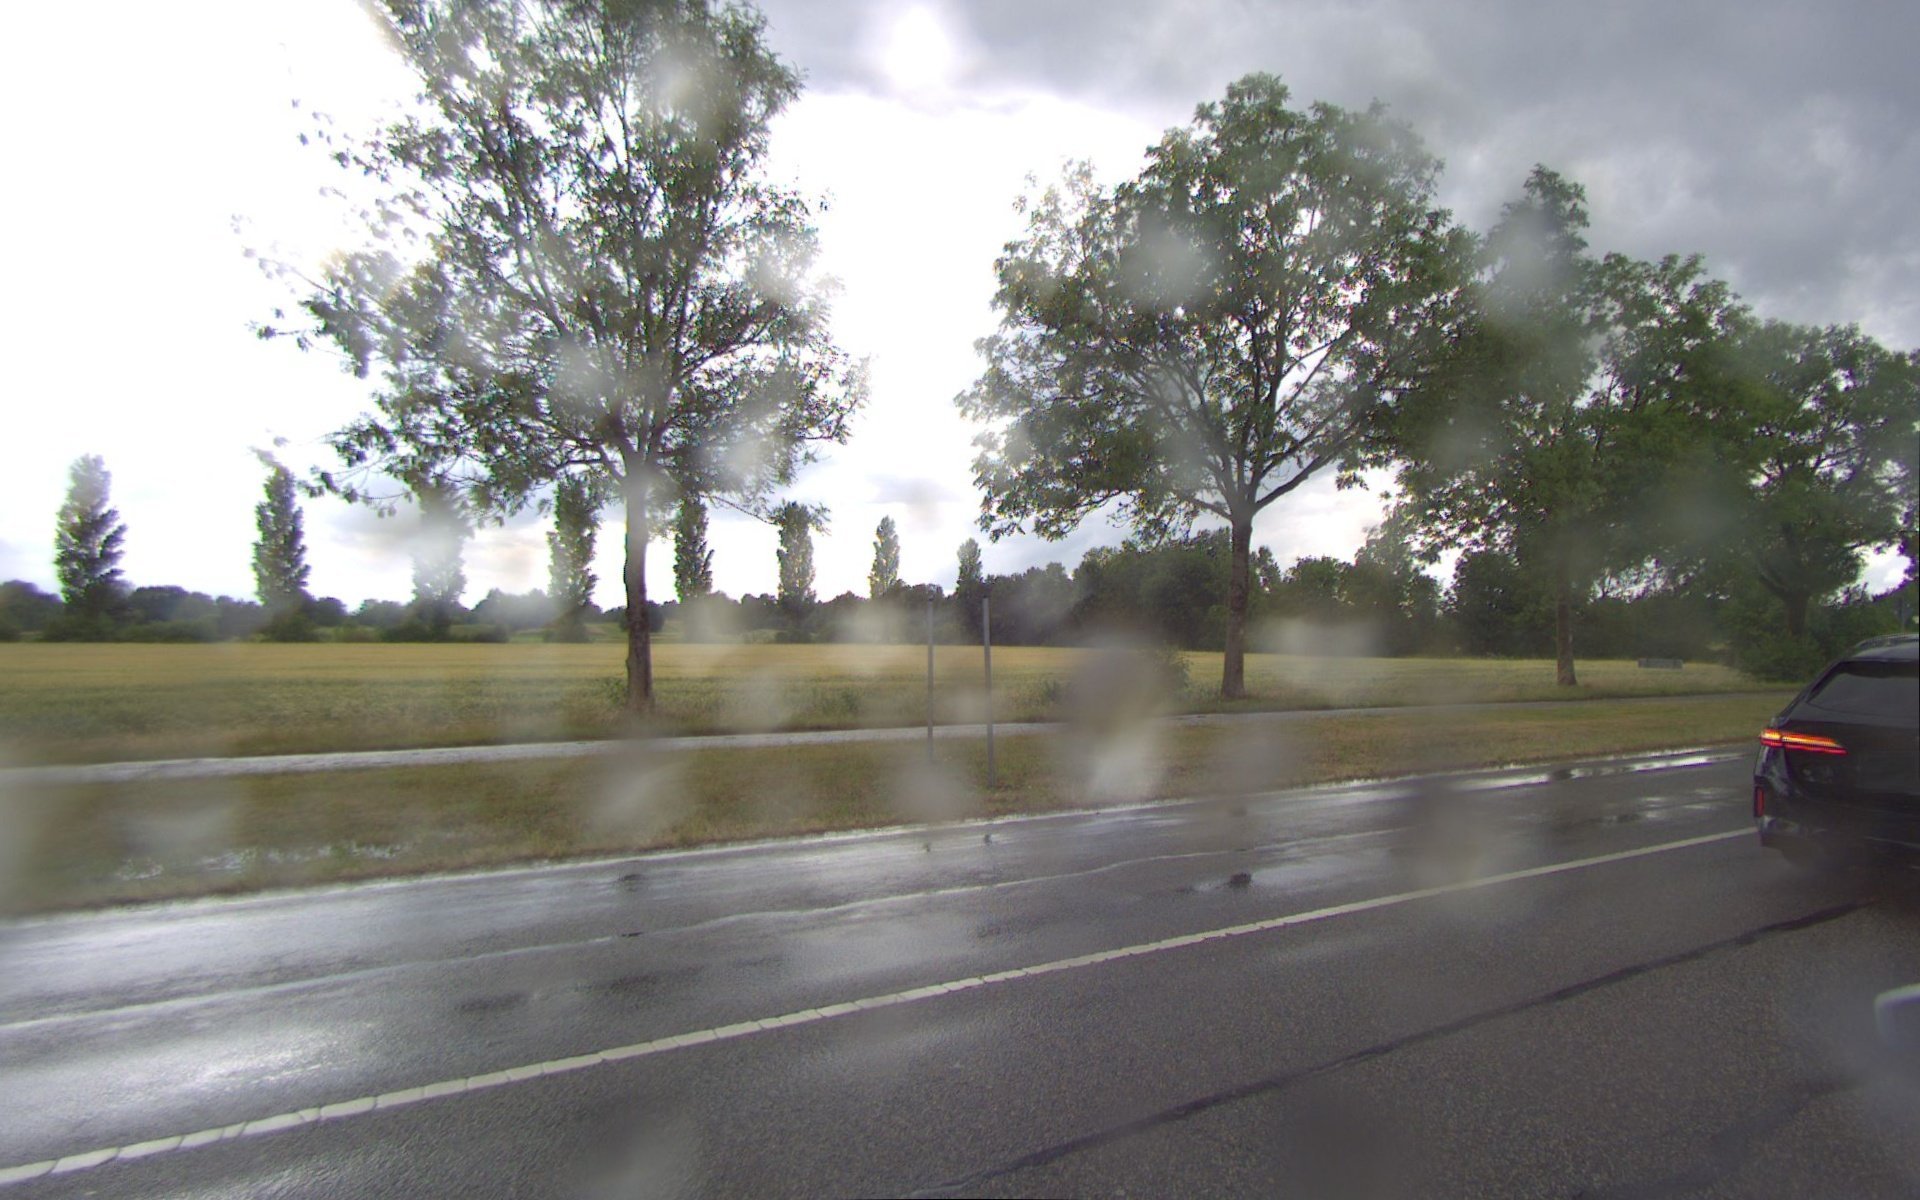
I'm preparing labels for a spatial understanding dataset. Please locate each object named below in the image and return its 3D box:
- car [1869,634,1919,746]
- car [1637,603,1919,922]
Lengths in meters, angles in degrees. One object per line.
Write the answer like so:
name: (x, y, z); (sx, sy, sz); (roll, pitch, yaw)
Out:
car: (14.841, 1.267, 14.537); (3.261, 1.549, 1.494); (1, -4, -29)
car: (6.677, 0.880, 6.290); (4.578, 1.568, 2.291); (2, 0, -30)
